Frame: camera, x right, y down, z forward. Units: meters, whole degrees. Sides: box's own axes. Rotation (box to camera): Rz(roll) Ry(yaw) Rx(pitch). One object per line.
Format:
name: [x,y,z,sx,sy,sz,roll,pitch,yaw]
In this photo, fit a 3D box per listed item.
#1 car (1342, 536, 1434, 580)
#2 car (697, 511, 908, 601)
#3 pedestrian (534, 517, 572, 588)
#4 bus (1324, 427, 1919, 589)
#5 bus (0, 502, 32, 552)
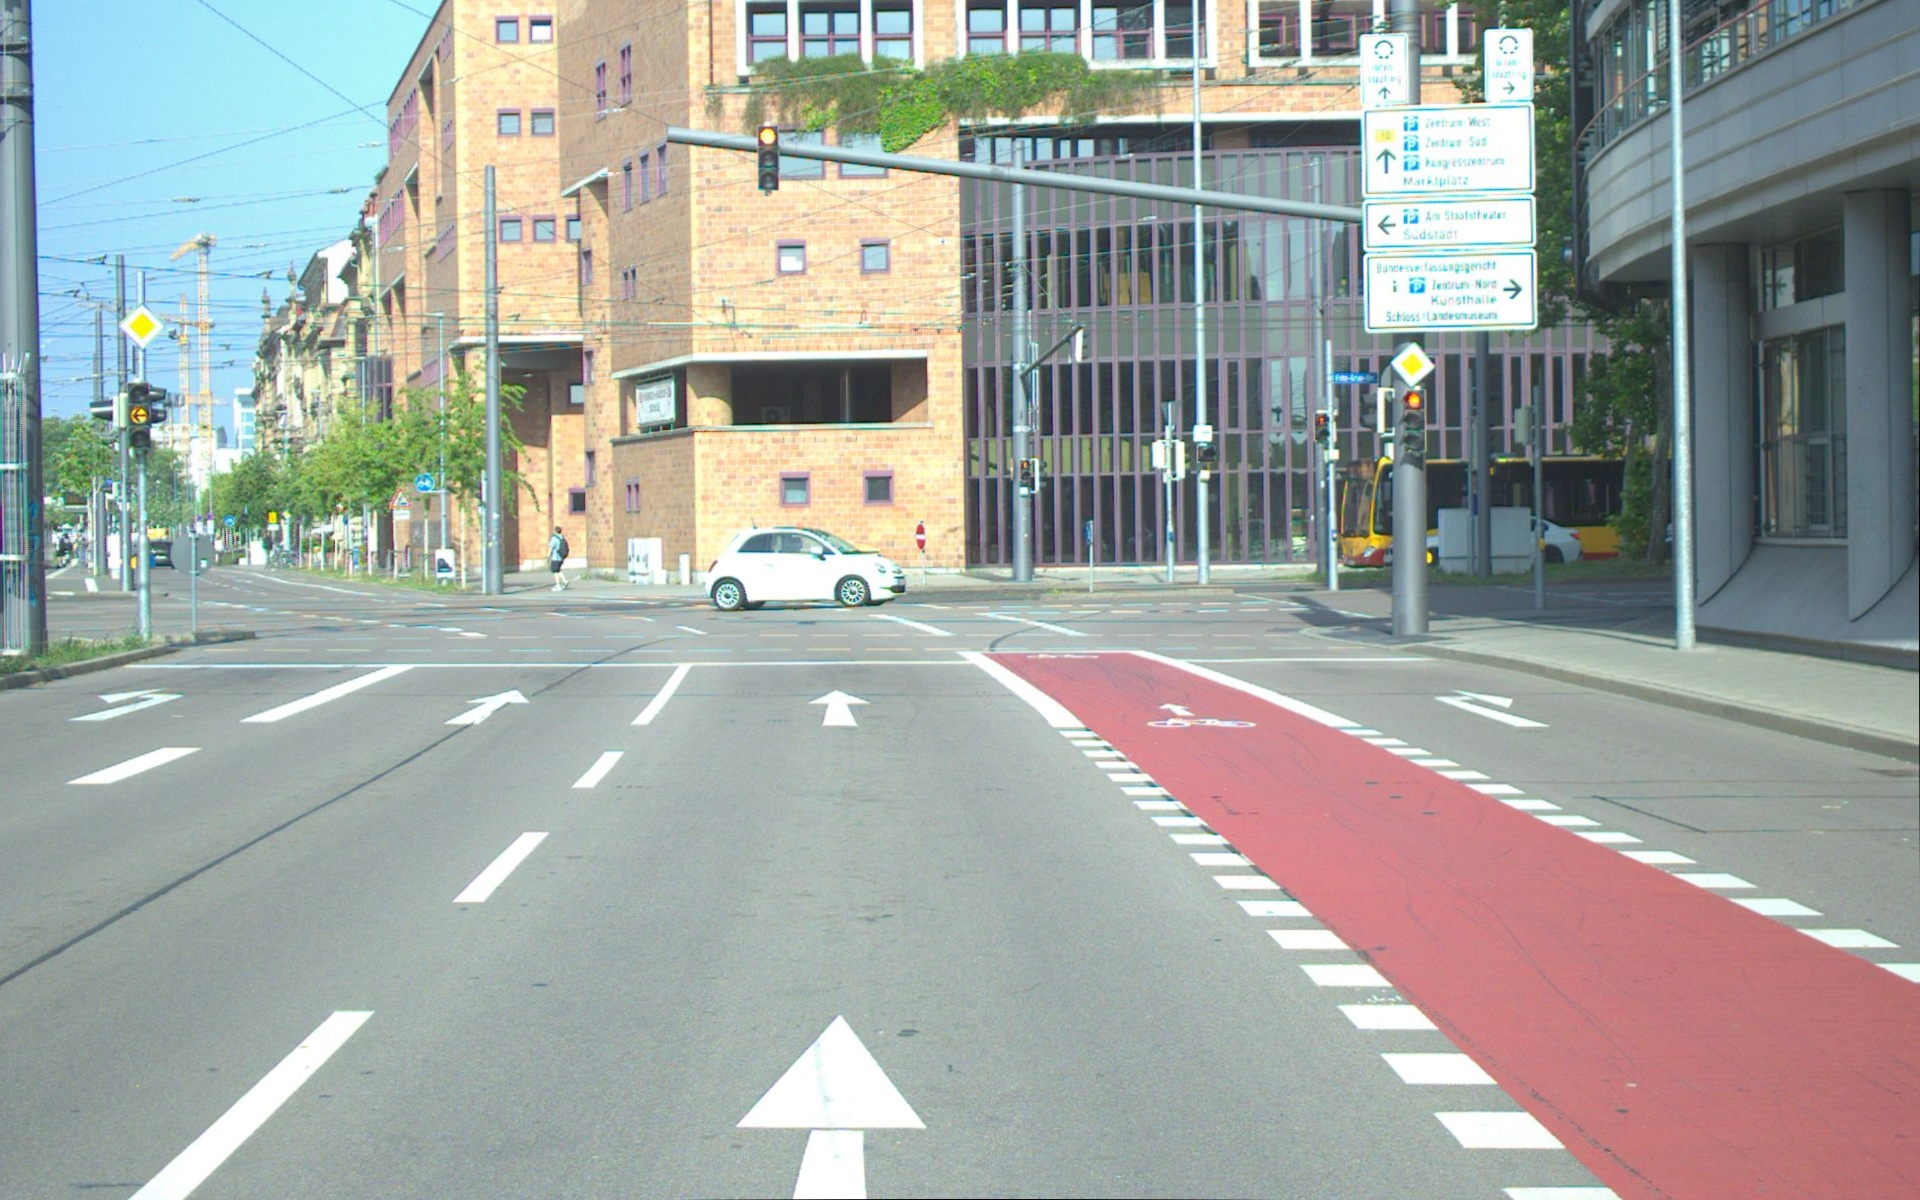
car: [9.982,-0.984,80.290,1.951,0.955,1.094,1,-1,-4]
car: [-2.813,-0.776,61.802,3.438,1.536,1.734,-1,0,13]
pedestrian: [-11.555,-1.356,97.620,0.841,2.007,0.810,-1,1,12]
bus: [17.997,-2.313,86.001,17.605,3.797,2.866,-1,0,-12]
bus: [-39.628,-3.004,142.238,1.993,2.007,4.001,-1,1,-21]
